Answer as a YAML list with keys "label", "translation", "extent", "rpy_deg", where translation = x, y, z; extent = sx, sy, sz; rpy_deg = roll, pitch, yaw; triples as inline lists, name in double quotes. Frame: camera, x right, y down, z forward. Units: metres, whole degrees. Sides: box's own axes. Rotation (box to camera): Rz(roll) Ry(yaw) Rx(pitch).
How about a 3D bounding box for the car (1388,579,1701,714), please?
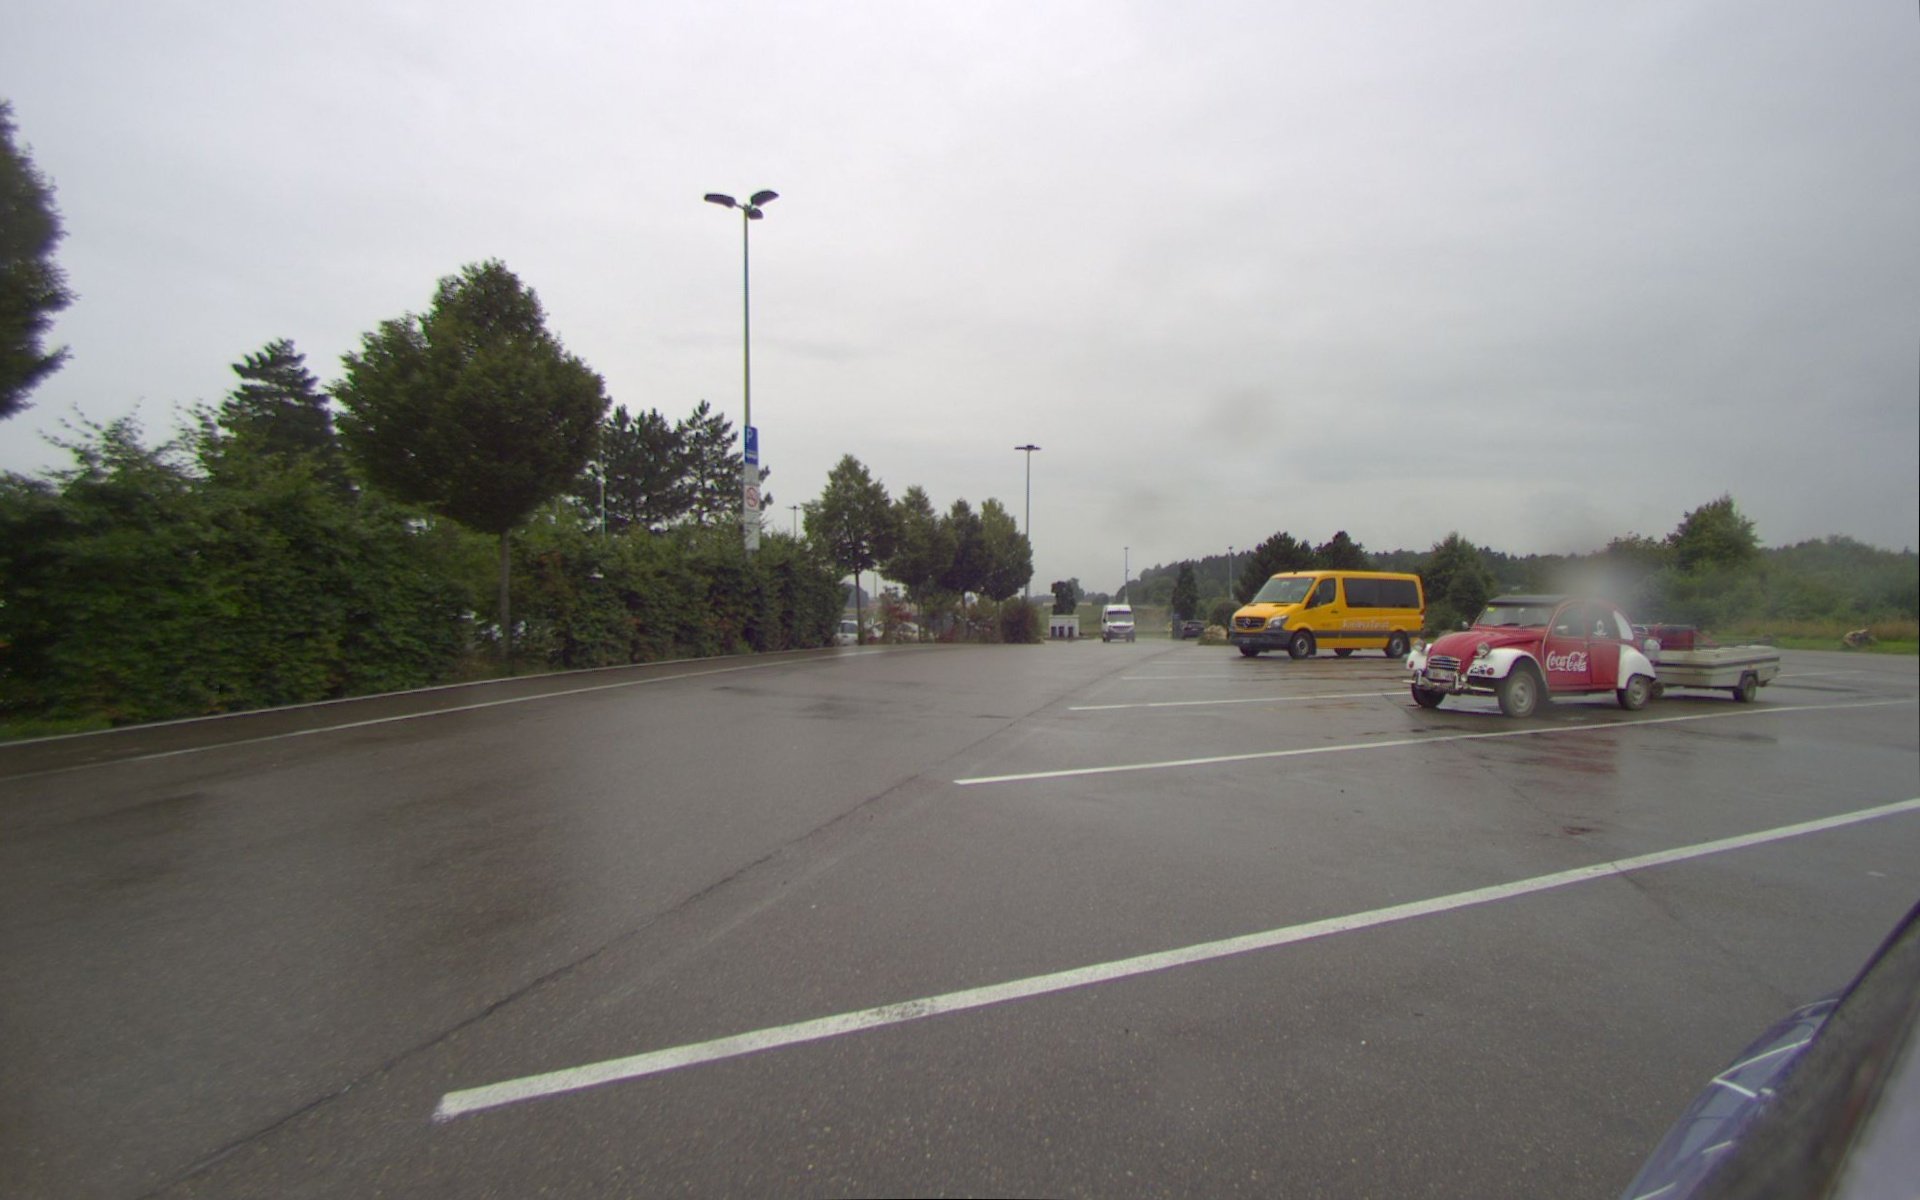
- label: "car"
  translation: [7.745, 0.541, 13.374]
  extent: [3.972, 1.575, 1.552]
  rpy_deg: [0, 0, -24]

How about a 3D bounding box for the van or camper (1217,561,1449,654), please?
- label: "van or camper"
  translation: [10.032, 0.180, 27.071]
  extent: [6.287, 2.275, 2.138]
  rpy_deg: [0, 1, -28]

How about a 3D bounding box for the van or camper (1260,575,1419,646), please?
- label: "van or camper"
  translation: [15.873, 0.397, 42.172]
  extent: [6.924, 2.749, 2.004]
  rpy_deg: [0, 2, -28]

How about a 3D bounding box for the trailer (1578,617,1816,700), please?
- label: "trailer"
  translation: [10.870, 0.823, 14.940]
  extent: [2.967, 1.081, 1.592]
  rpy_deg: [1, 0, -25]

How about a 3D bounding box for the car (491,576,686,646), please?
- label: "car"
  translation: [-8.563, 0.214, 23.381]
  extent: [4.040, 1.516, 1.756]
  rpy_deg: [0, 1, 18]
